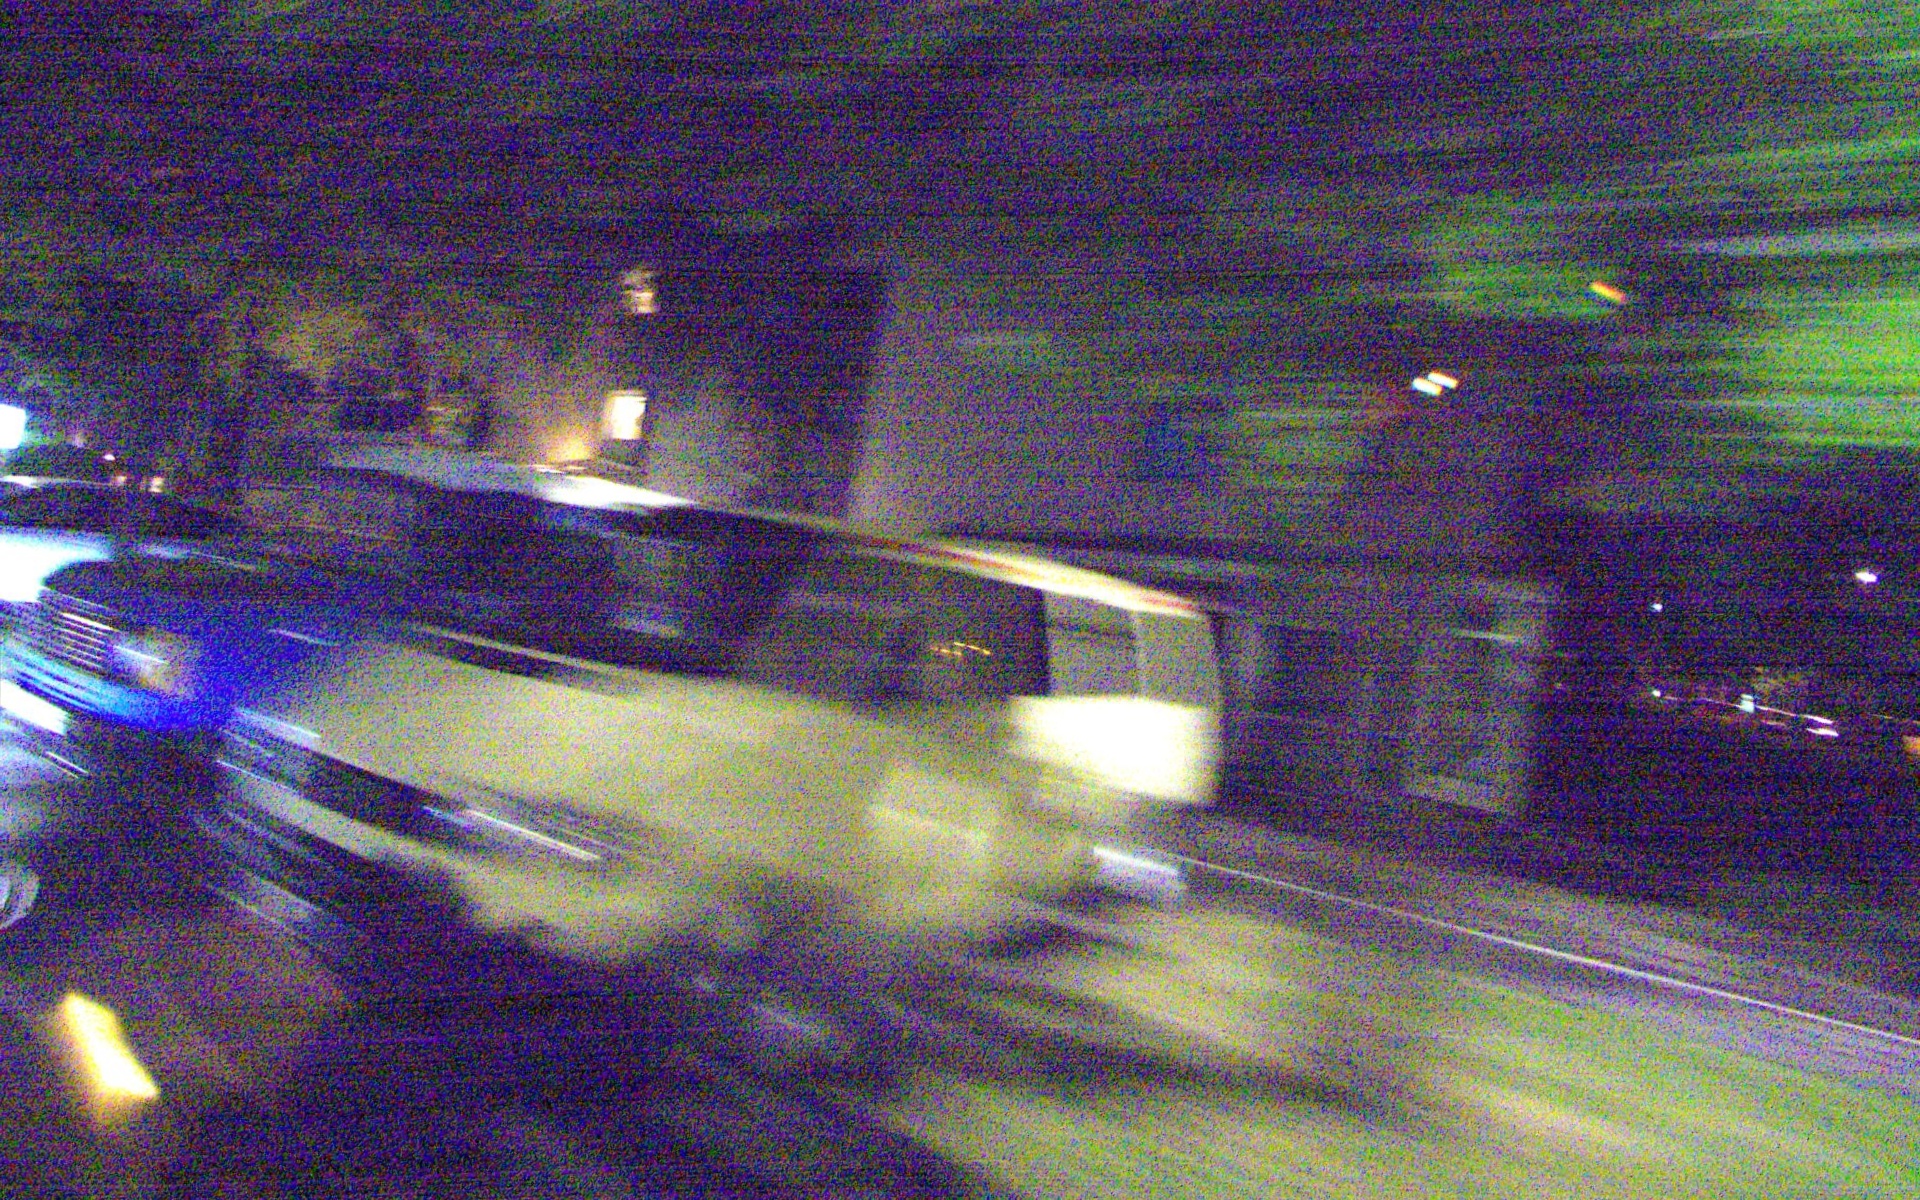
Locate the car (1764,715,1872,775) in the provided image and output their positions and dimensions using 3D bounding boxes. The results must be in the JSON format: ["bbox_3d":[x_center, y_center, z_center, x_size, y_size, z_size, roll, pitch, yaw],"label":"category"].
[{"bbox_3d":[37.572,6.308,44.184,1.895,1.904,3.944,7,0,15],"label":"car"}]

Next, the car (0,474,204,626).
[{"bbox_3d":[-12.022,-0.779,12.204,1.967,1.574,3.996,8,-2,32],"label":"car"}]

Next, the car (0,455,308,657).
[{"bbox_3d":[-9.636,-0.553,10.402,1.968,1.716,4.284,8,-3,34],"label":"car"}]

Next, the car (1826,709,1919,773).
[{"bbox_3d":[36.175,5.505,38.942,1.895,1.904,4.891,7,0,15],"label":"car"}]

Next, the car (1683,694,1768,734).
[{"bbox_3d":[40.955,6.084,53.940,1.962,1.538,4.001,7,0,13],"label":"car"}]

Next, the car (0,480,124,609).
[{"bbox_3d":[-14.240,-1.044,13.072,2.072,1.574,4.665,8,-3,32],"label":"car"}]

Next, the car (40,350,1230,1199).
[{"bbox_3d":[-0.608,0.546,4.888,2.222,1.866,5.155,8,-2,31],"label":"car"}]

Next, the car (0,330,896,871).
[{"bbox_3d":[-2.911,0.142,6.699,2.222,2.120,5.155,8,-2,31],"label":"car"}]

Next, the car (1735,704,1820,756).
[{"bbox_3d":[39.044,6.180,48.176,1.897,1.904,3.941,8,0,23],"label":"car"}]
